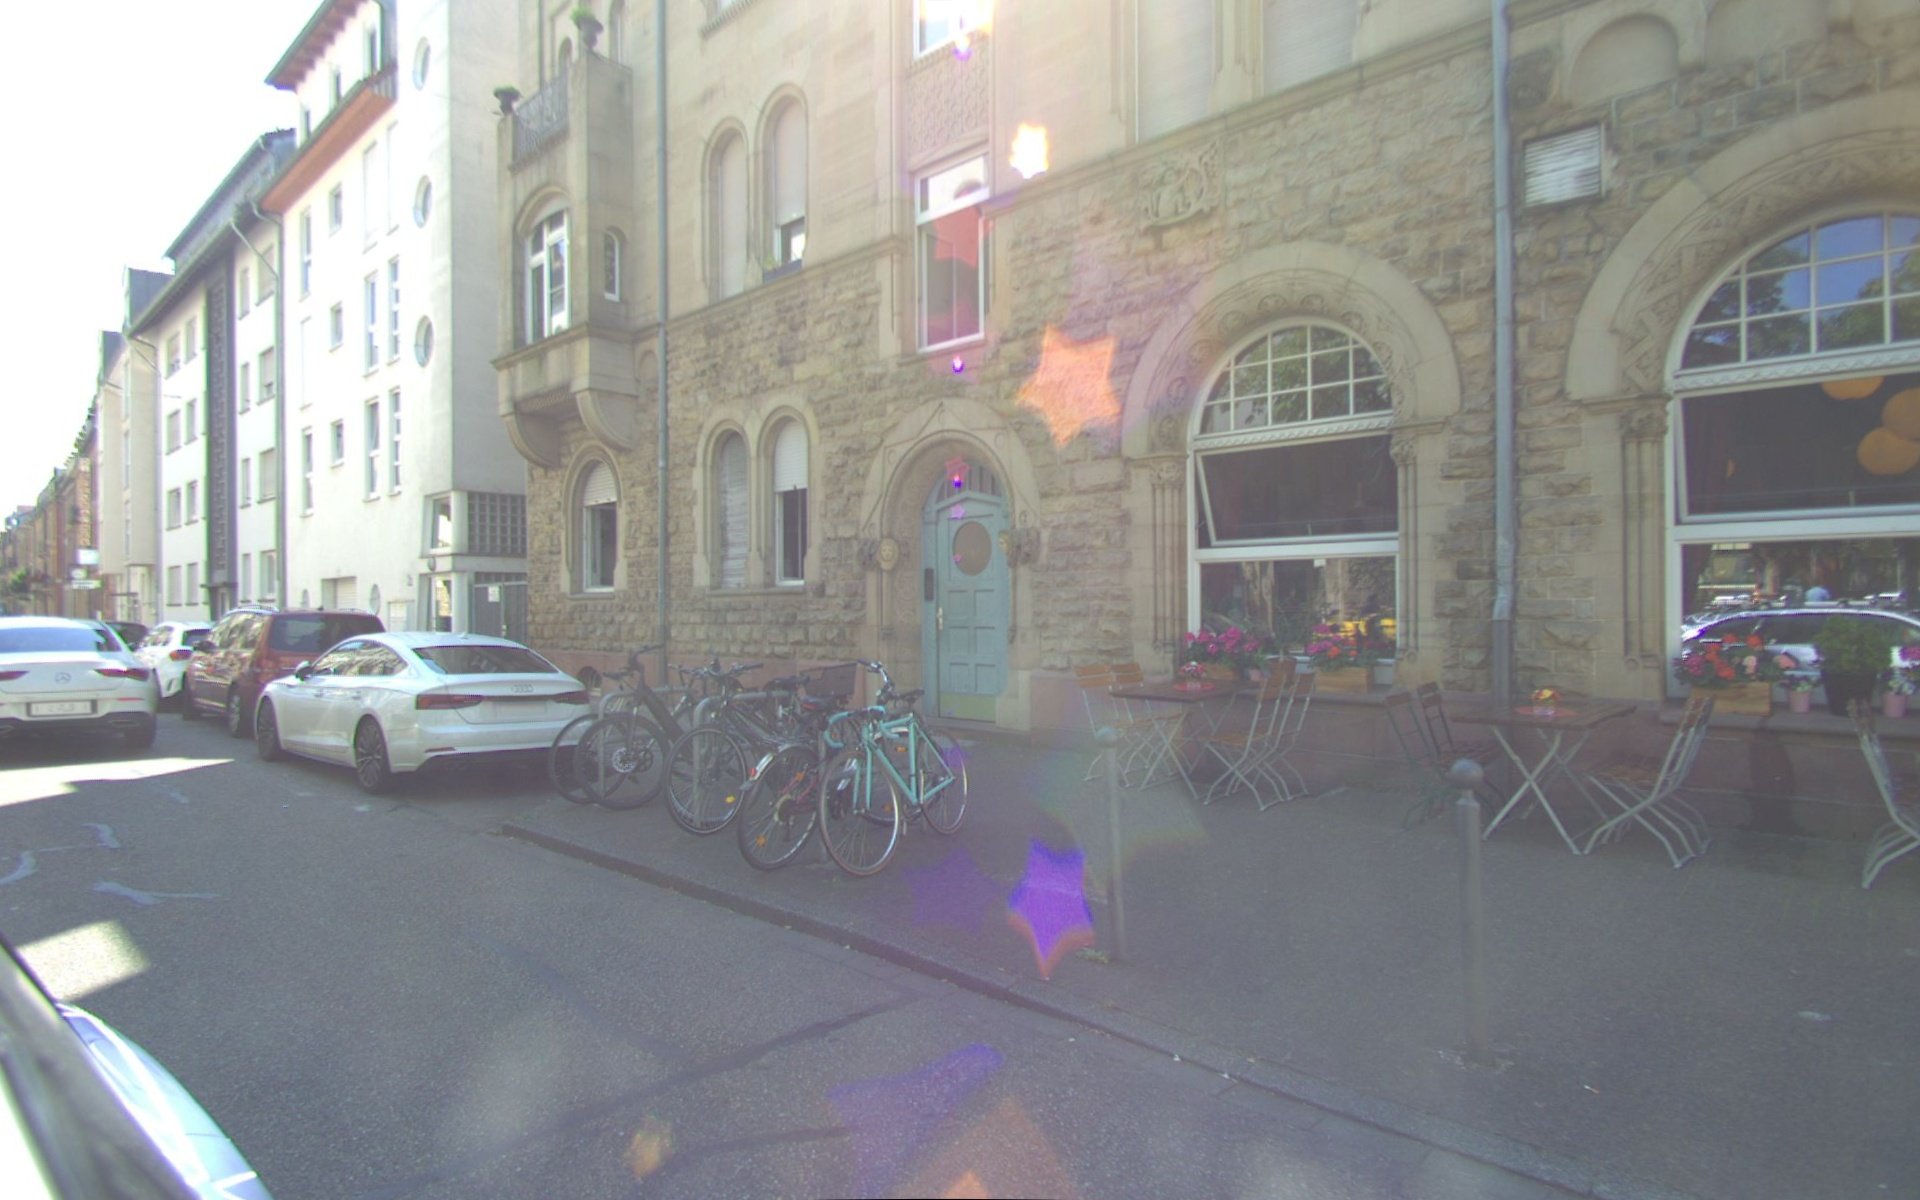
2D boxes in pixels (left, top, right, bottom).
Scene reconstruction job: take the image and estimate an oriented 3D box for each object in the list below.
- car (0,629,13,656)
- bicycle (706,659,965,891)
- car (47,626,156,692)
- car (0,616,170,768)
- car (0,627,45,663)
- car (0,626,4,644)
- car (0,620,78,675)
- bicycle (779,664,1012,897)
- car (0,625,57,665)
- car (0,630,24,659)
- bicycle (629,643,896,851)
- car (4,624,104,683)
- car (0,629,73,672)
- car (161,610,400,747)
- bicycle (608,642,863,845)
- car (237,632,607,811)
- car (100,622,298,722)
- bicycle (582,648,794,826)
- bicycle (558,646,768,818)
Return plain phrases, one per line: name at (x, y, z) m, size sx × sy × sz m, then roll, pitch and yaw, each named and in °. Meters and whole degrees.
car at (-54.645, 2.361, 57.074) m, size 1.610 × 1.440 × 3.680 m, roll 7°, pitch -6°, yaw -45°
bicycle at (-0.667, 0.944, 5.979) m, size 0.413 × 1.053 × 1.688 m, roll -1°, pitch 1°, yaw 38°
car at (-21.486, 1.441, 25.284) m, size 3.893 × 1.503 × 1.550 m, roll -1°, pitch -3°, yaw 43°
car at (-10.640, 0.937, 11.555) m, size 4.362 × 1.472 × 1.821 m, roll -1°, pitch -3°, yaw 43°
car at (-43.073, 2.017, 46.011) m, size 3.850 × 1.561 × 1.612 m, roll -1°, pitch -5°, yaw 40°
car at (-81.205, 2.871, 83.043) m, size 1.678 × 1.441 × 3.942 m, roll -1°, pitch -2°, yaw 44°
car at (-29.721, 1.485, 32.505) m, size 3.977 × 1.657 × 1.586 m, roll -1°, pitch -3°, yaw 43°
bicycle at (-0.306, 0.932, 5.681) m, size 0.367 × 1.015 × 1.510 m, roll -1°, pitch 1°, yaw 38°
car at (-38.101, 1.809, 41.055) m, size 4.348 × 1.506 × 1.711 m, roll -1°, pitch -4°, yaw 43°
car at (-50.765, 2.328, 53.401) m, size 1.757 × 1.440 × 3.838 m, roll 7°, pitch -6°, yaw -45°
bicycle at (-1.269, 0.914, 6.939) m, size 0.435 × 1.138 × 1.976 m, roll -1°, pitch 0°, yaw 38°
car at (-25.944, 1.483, 28.928) m, size 4.671 × 1.530 × 1.638 m, roll -1°, pitch -3°, yaw 43°
car at (-33.402, 1.793, 36.384) m, size 4.348 × 1.404 × 1.746 m, roll -1°, pitch -3°, yaw 43°
car at (-9.314, 0.978, 13.755) m, size 4.051 × 1.595 × 1.655 m, roll -1°, pitch -3°, yaw 41°
bicycle at (-1.544, 0.949, 7.321) m, size 0.394 × 1.138 × 1.953 m, roll -1°, pitch 2°, yaw 38°
car at (-5.498, 1.042, 10.073) m, size 4.512 × 1.363 × 1.684 m, roll -1°, pitch -3°, yaw 41°
car at (-12.905, 1.139, 17.068) m, size 4.277 × 1.471 × 1.758 m, roll -1°, pitch -3°, yaw 41°
bicycle at (-2.001, 0.970, 7.660) m, size 0.292 × 1.108 × 1.686 m, roll -1°, pitch 1°, yaw 38°
bicycle at (-2.246, 0.961, 7.854) m, size 0.292 × 1.108 × 1.686 m, roll -1°, pitch 0°, yaw 38°
